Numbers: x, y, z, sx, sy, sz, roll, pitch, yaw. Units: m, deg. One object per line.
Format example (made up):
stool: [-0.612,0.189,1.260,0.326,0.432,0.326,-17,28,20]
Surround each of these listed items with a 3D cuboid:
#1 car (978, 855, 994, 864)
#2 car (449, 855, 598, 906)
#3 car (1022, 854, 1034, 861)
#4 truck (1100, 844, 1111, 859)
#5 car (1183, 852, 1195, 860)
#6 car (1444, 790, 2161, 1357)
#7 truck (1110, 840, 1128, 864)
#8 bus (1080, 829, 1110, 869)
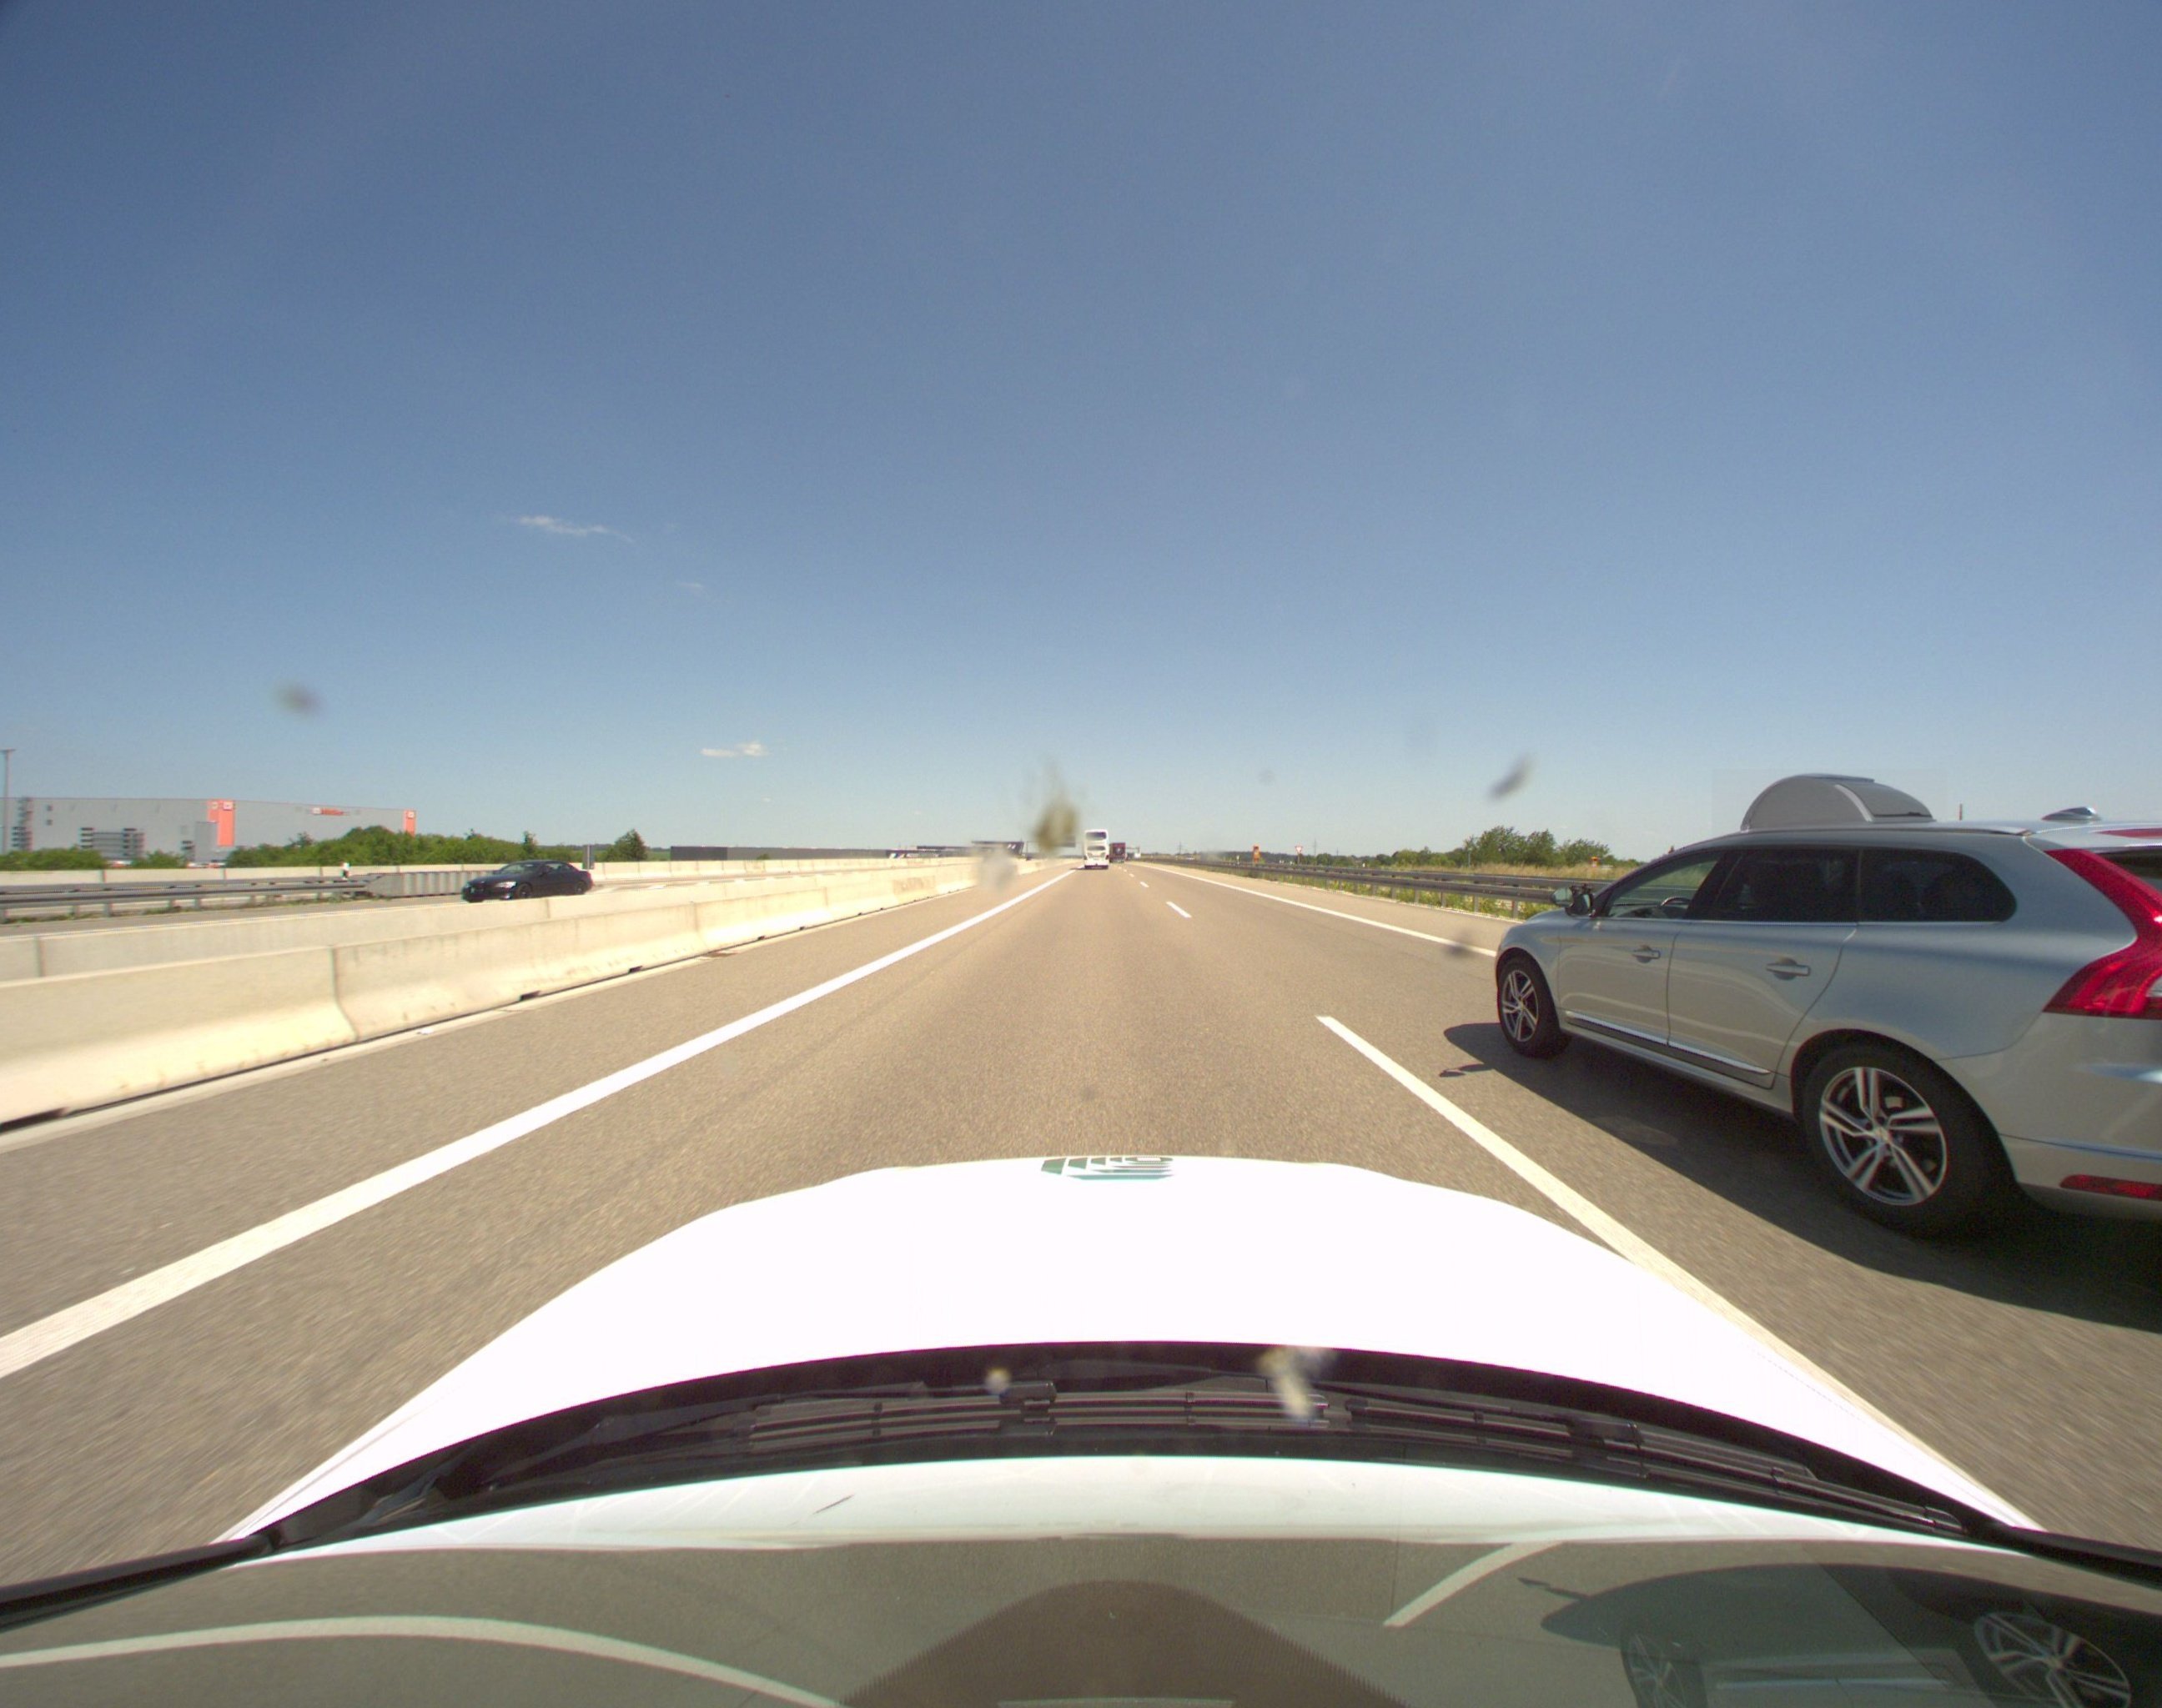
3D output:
car: [-15.611,0.895,133.886,1.904,1.420,4.551,0,0,1]
car: [-18.516,0.828,27.347,1.726,1.536,4.550,0,0,2]
car: [-11.122,0.653,171.713,1.904,1.420,4.912,0,0,3]
truck: [5.933,-0.626,199.957,2.429,3.789,6.493,0,0,0]
car: [21.115,0.451,159.246,1.884,1.529,4.262,0,0,0]
car: [4.090,0.608,4.751,1.873,1.623,4.906,-1,0,2]
truck: [7.828,-0.330,166.975,3.365,4.464,13.574,0,-2,3]
bus: [1.426,-0.495,86.332,2.970,3.975,9.104,0,0,0]
